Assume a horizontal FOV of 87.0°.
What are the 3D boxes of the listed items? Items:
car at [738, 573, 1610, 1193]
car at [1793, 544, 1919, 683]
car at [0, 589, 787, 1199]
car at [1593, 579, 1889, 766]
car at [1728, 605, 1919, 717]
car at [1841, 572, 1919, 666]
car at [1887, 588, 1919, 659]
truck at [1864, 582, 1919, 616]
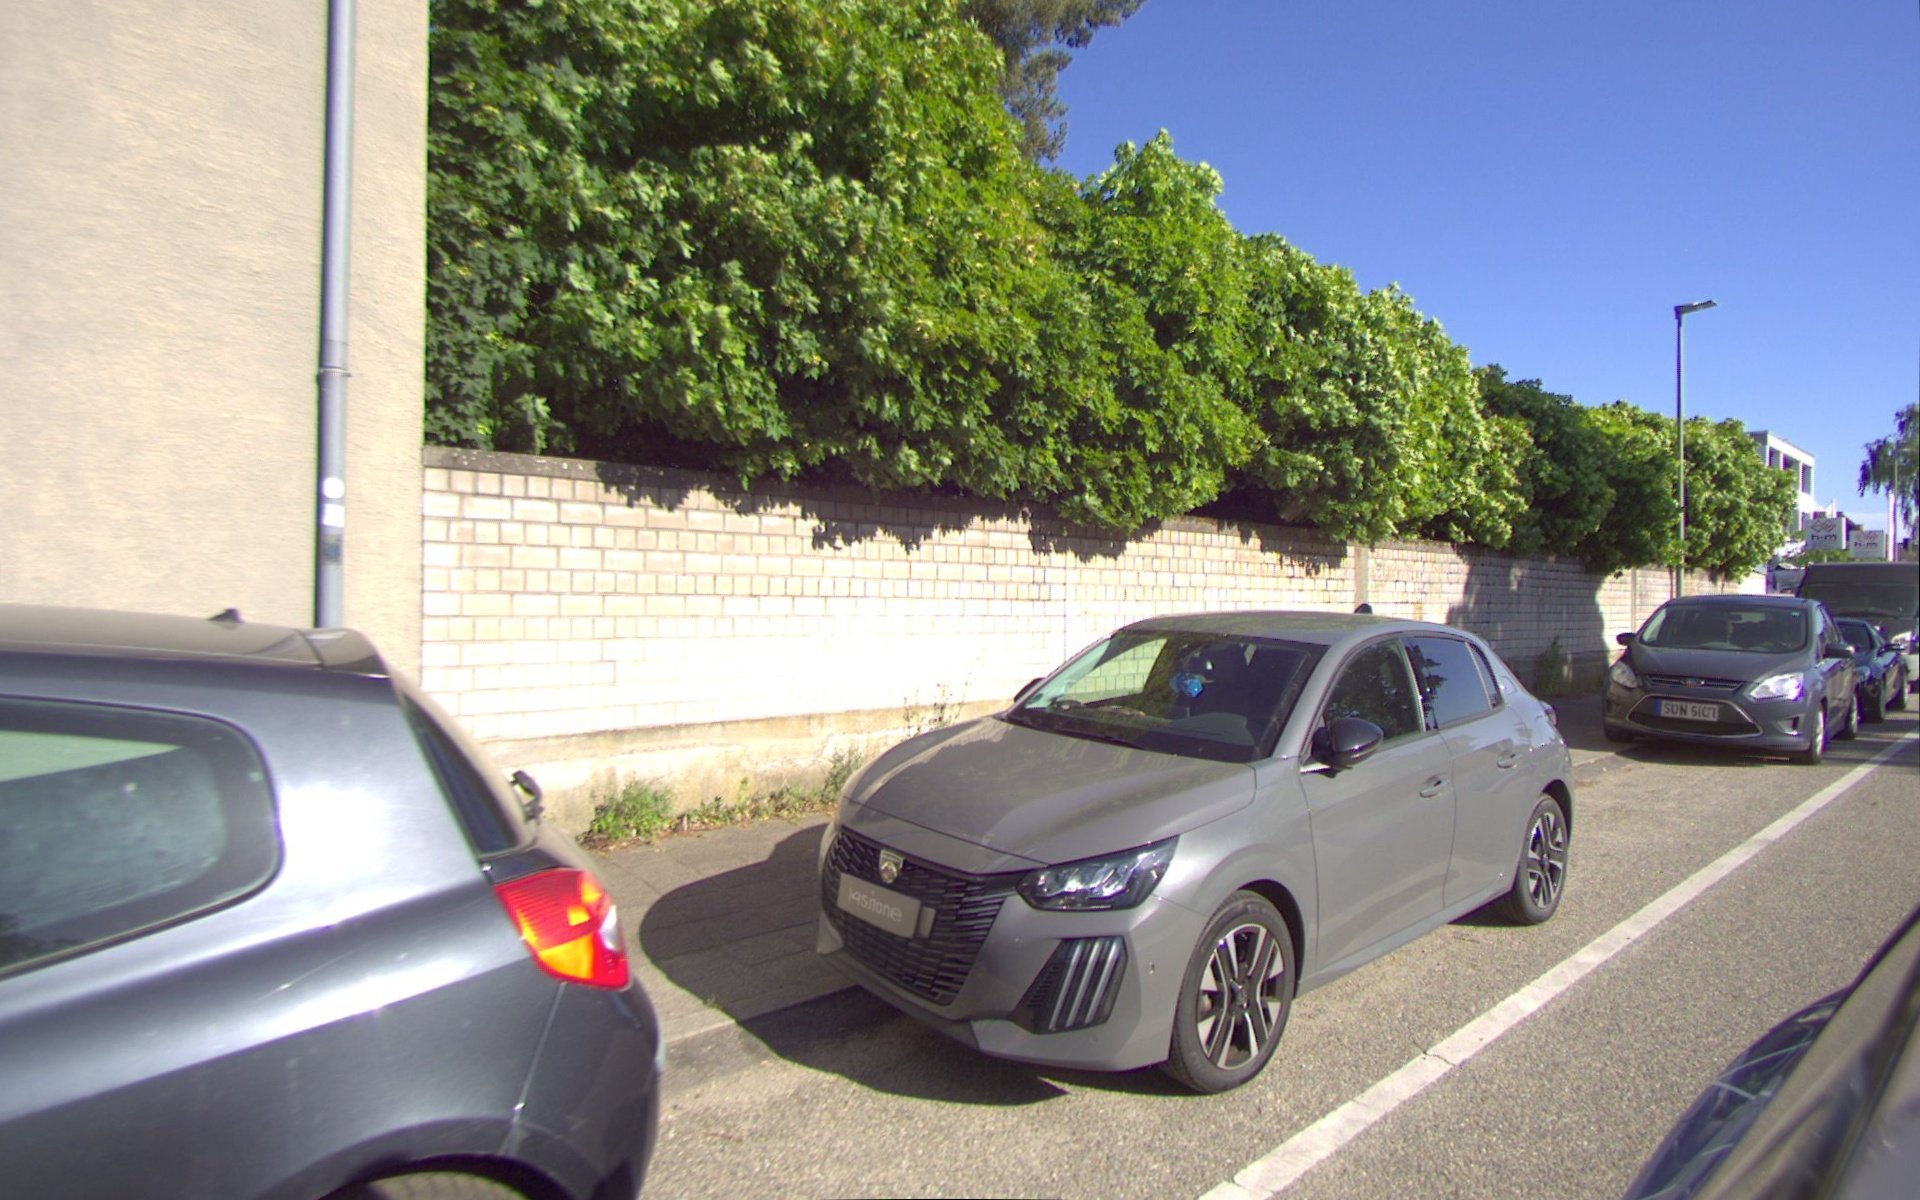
[{"bbox_3d":[1.215,0.680,4.415,3.960,1.524,1.662,0,1,-41],"label":"car"},{"bbox_3d":[17.275,0.214,18.818,5.055,2.288,1.895,0,1,-41],"label":"car"},{"bbox_3d":[-2.424,0.733,1.180,4.112,1.491,1.603,0,1,-37],"label":"car"},{"bbox_3d":[8.471,0.646,10.853,4.131,1.634,1.684,0,-1,-41],"label":"car"},{"bbox_3d":[12.466,0.762,14.390,4.031,1.335,1.658,0,1,-41],"label":"car"},{"bbox_3d":[21.545,0.391,22.794,4.834,1.950,1.895,0,1,-41],"label":"car"},{"bbox_3d":[26.095,0.550,26.749,4.827,1.766,1.804,-1,-1,-41],"label":"car"},{"bbox_3d":[71.630,-0.101,76.579,4.343,2.497,1.983,1,0,26],"label":"truck"}]
